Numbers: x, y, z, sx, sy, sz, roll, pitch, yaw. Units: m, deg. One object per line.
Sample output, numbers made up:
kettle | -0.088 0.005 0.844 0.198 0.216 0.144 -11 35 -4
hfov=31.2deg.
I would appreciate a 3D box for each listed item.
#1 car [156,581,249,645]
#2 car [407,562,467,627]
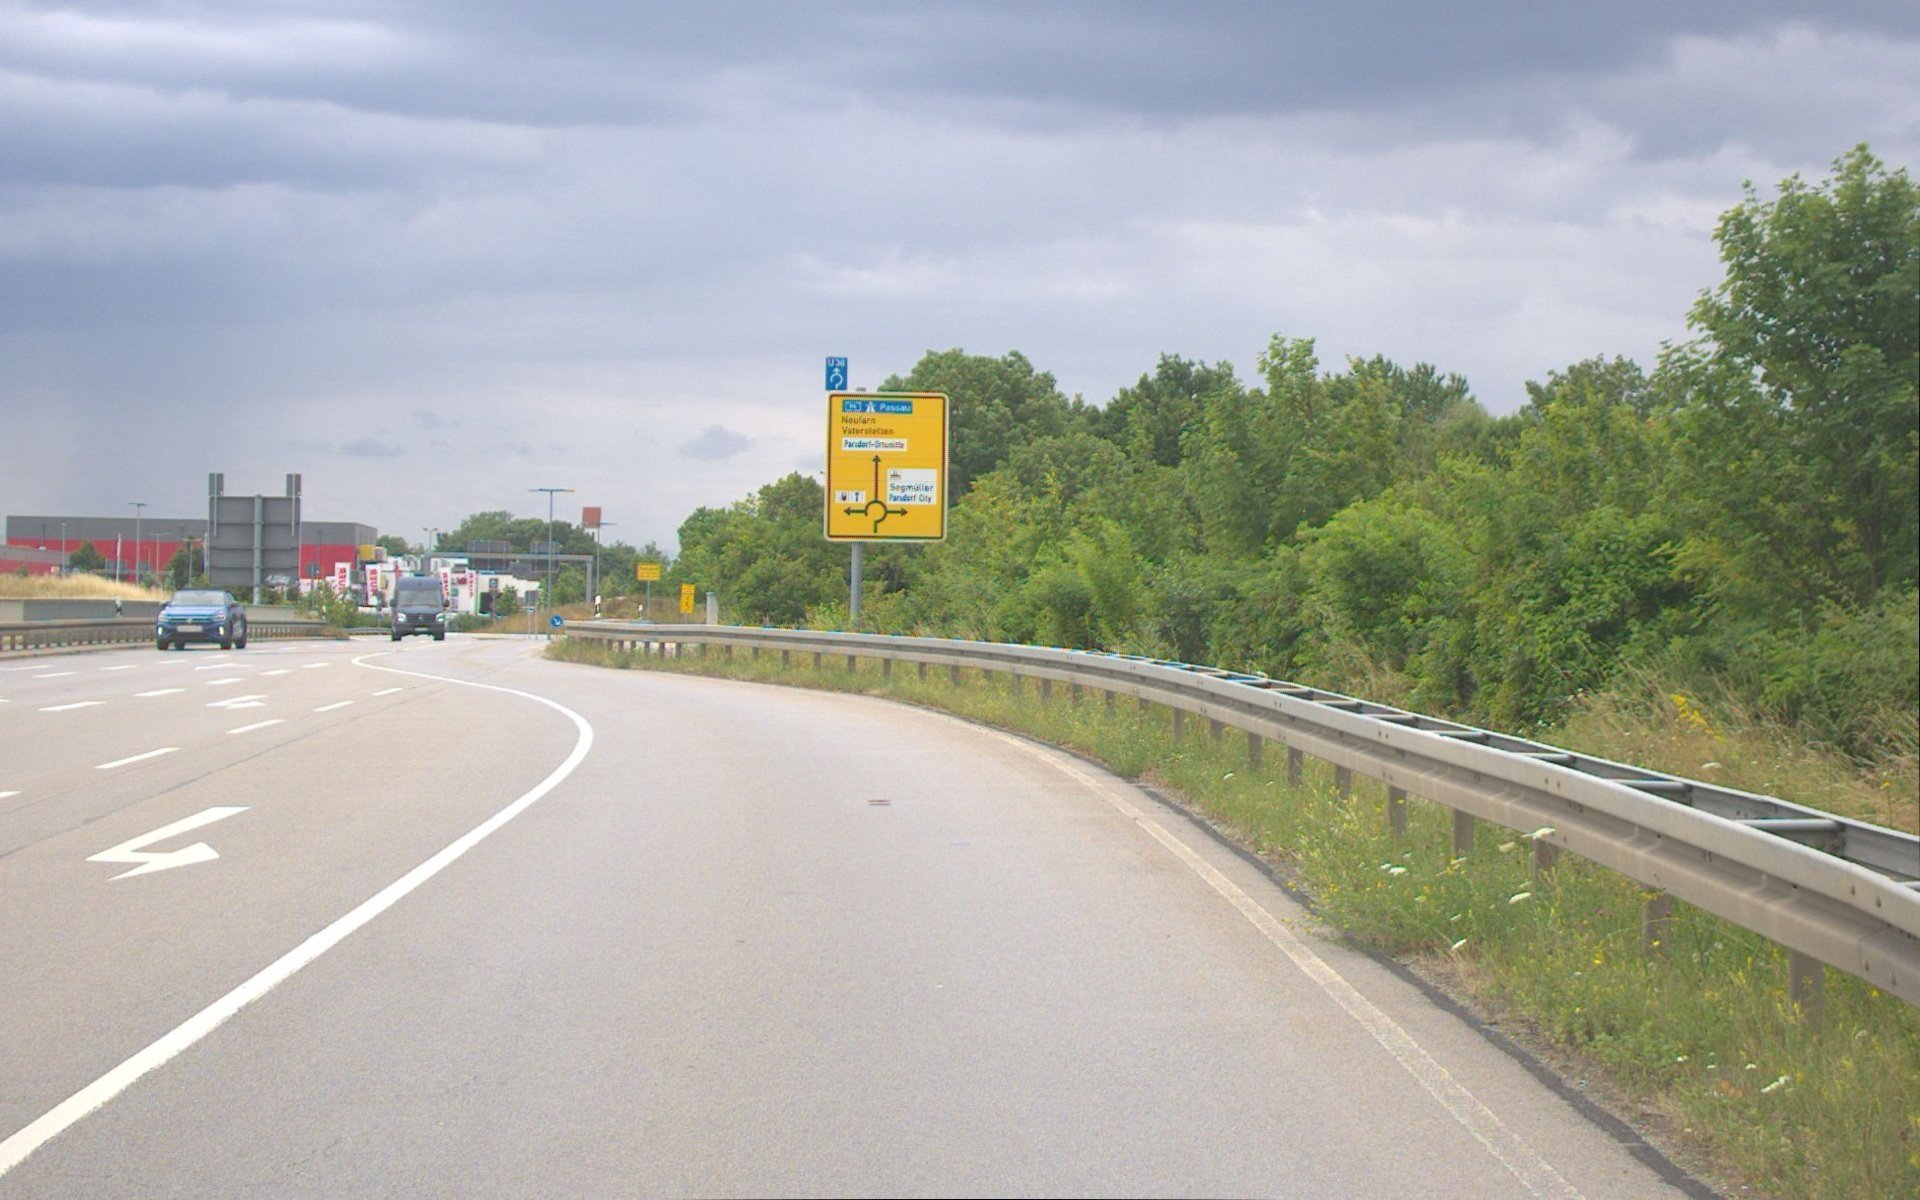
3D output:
car | -18.996 0.313 86.339 1.797 1.545 4.001 1 0 -5
car | -21.162 -0.215 139.284 1.993 2.583 6.005 1 0 -5
